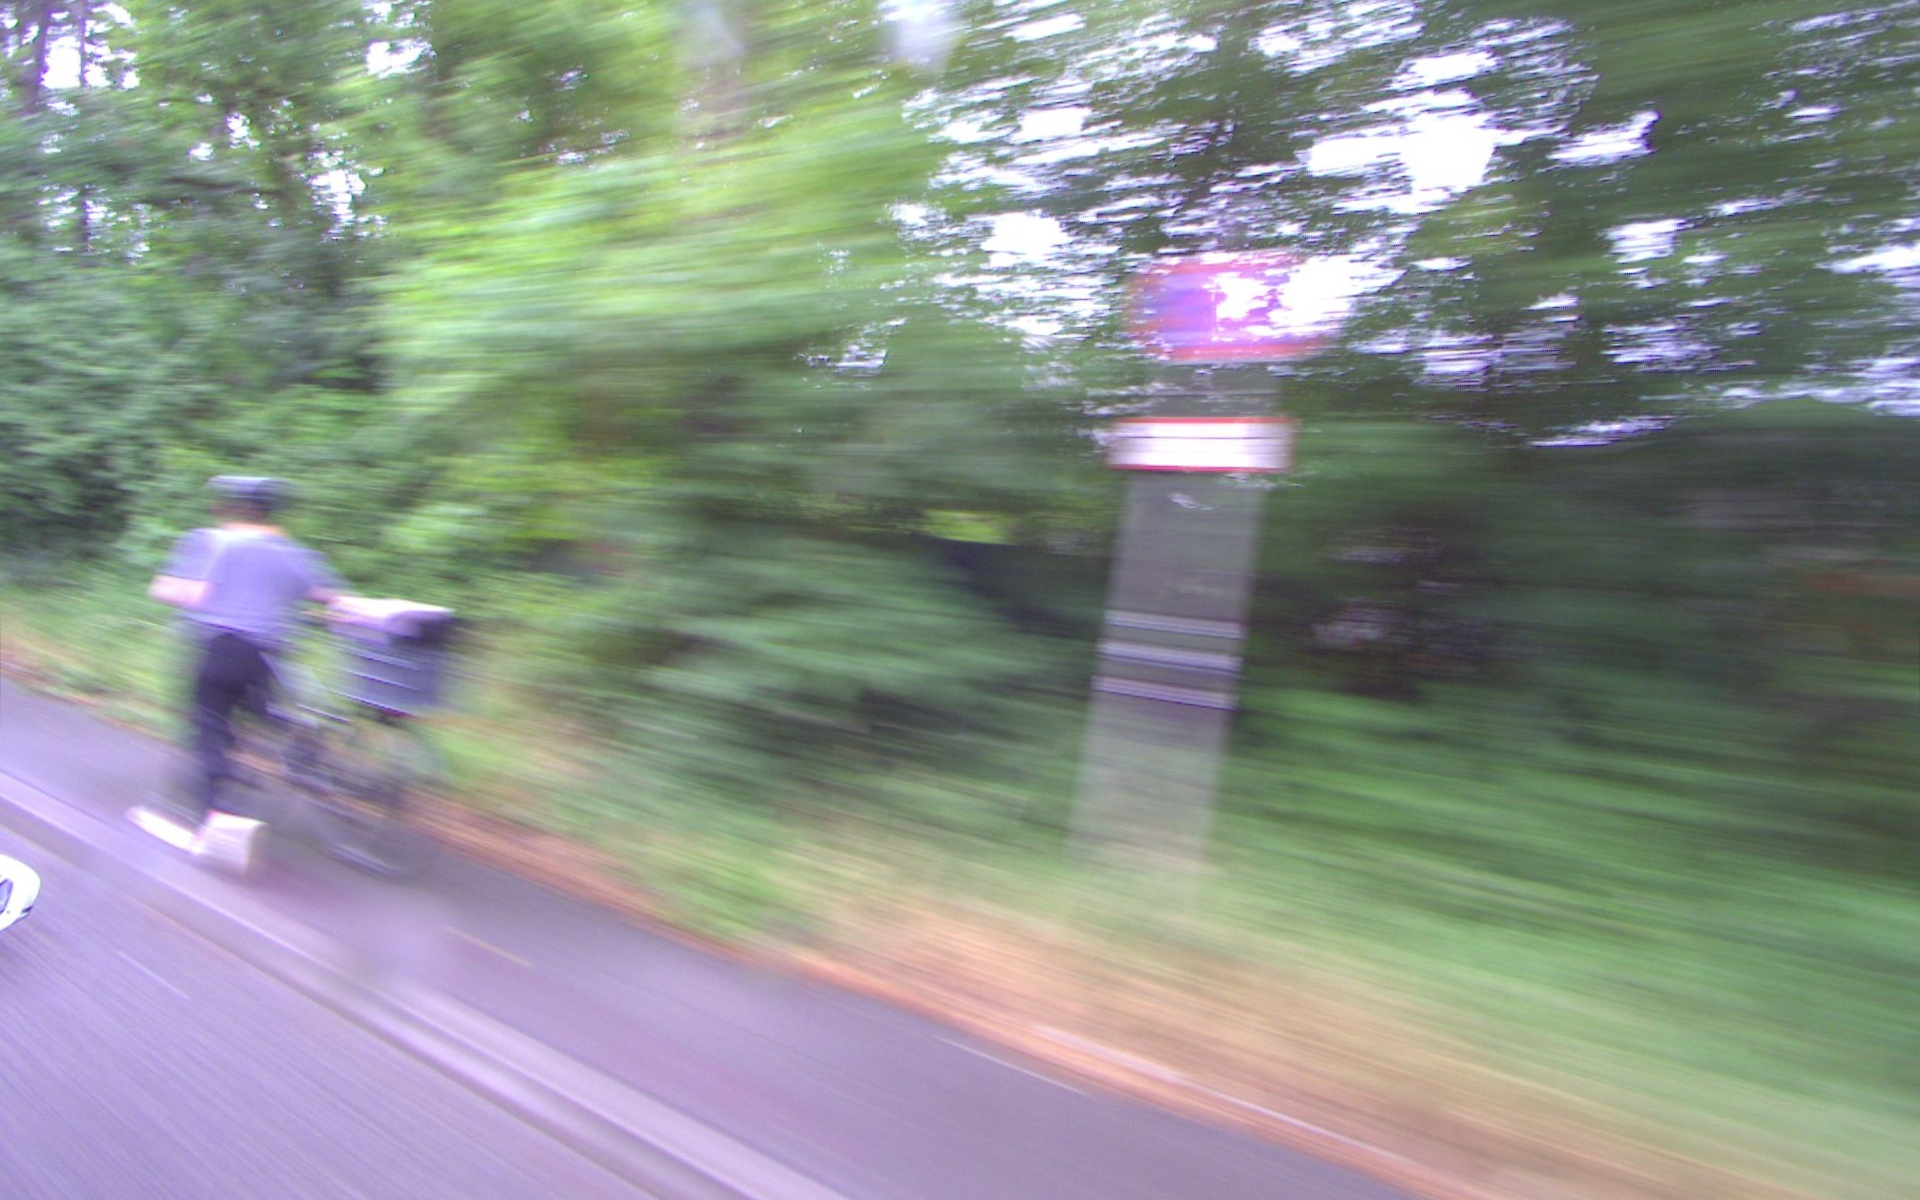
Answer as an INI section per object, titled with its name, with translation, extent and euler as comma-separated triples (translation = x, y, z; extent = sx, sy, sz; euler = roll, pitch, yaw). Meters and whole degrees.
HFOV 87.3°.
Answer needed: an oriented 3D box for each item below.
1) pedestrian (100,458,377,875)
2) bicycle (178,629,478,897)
[pedestrian]
translation = -3.059, 0.255, 4.277
extent = 0.757, 1.595, 0.565
euler = 4, -2, 31
[bicycle]
translation = -2.927, 0.672, 4.590
extent = 1.713, 0.860, 0.356
euler = 7, 1, 31
